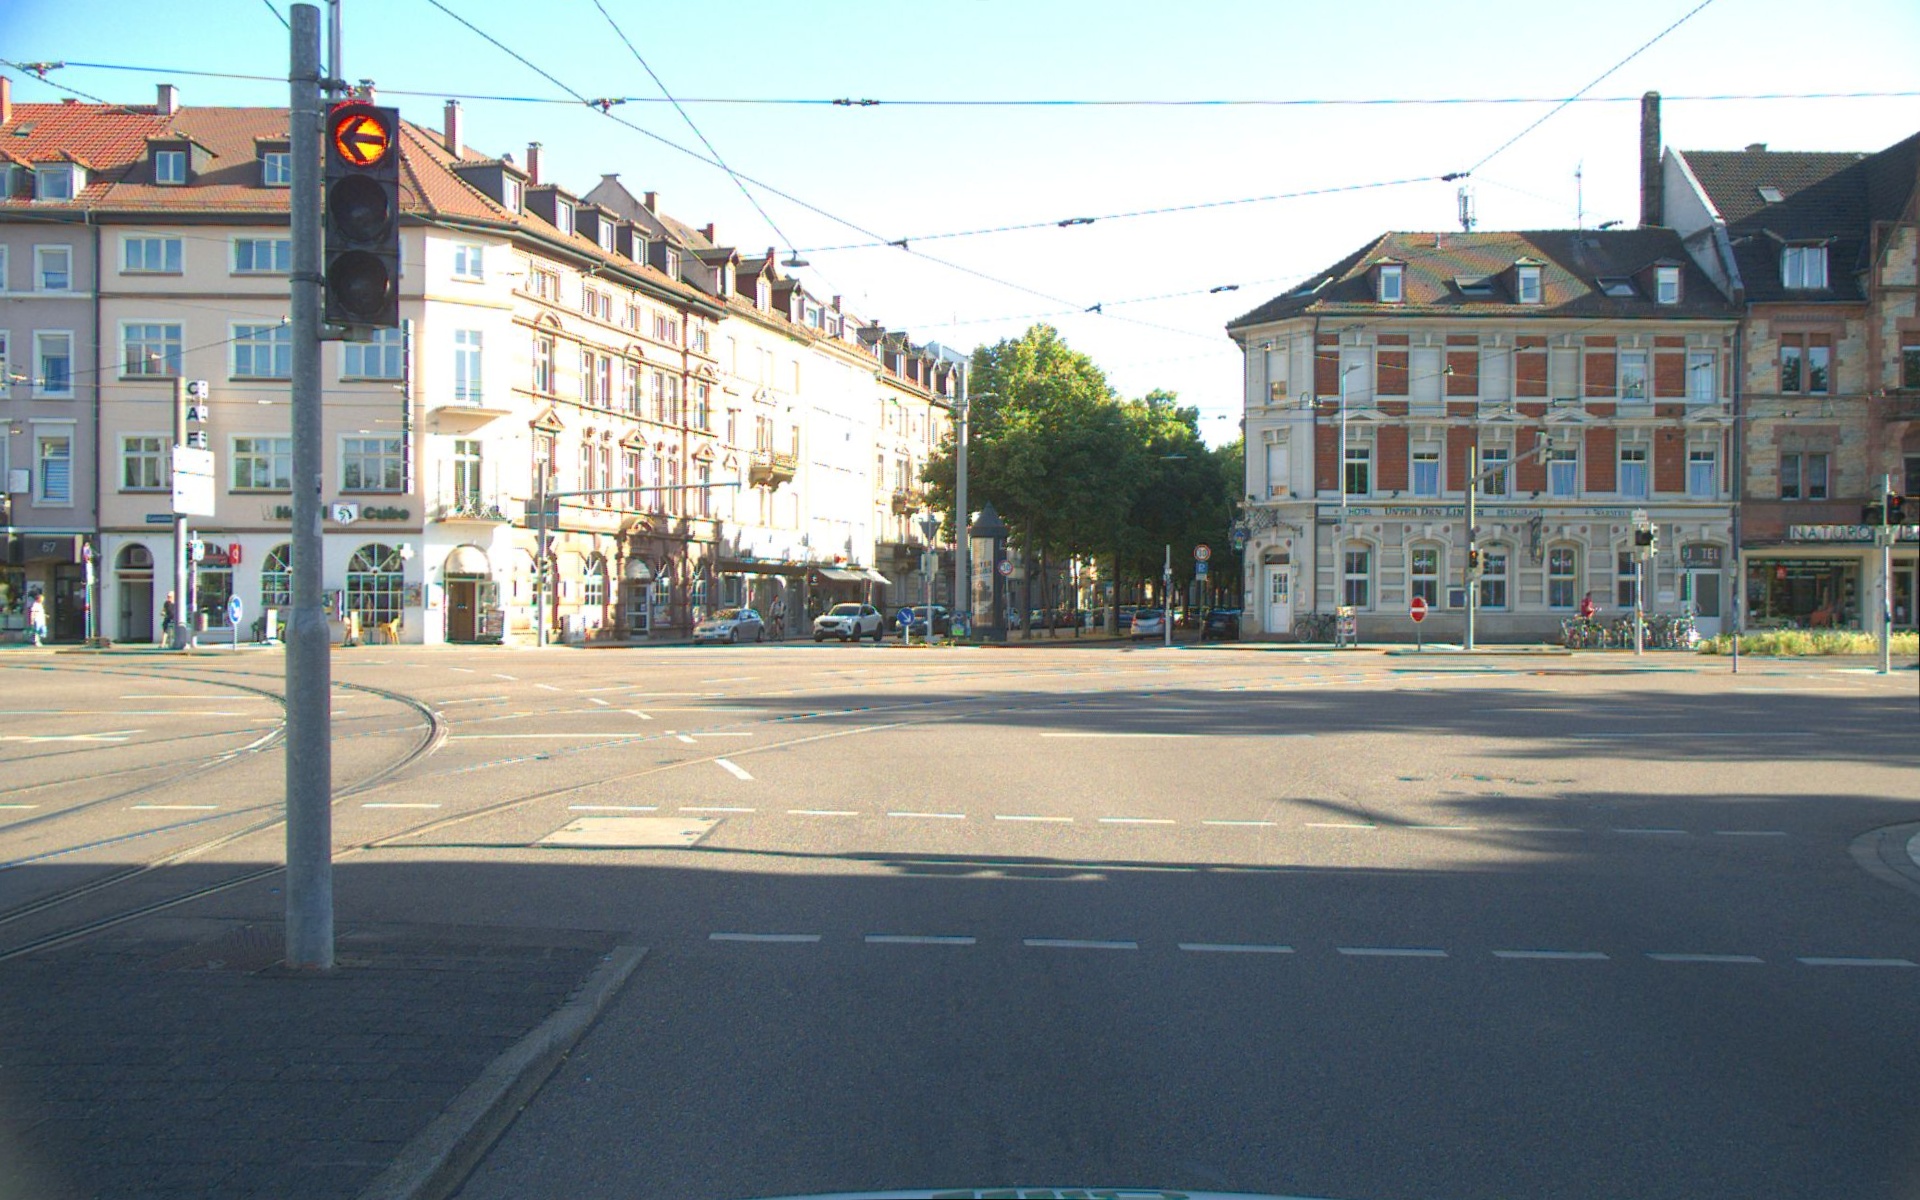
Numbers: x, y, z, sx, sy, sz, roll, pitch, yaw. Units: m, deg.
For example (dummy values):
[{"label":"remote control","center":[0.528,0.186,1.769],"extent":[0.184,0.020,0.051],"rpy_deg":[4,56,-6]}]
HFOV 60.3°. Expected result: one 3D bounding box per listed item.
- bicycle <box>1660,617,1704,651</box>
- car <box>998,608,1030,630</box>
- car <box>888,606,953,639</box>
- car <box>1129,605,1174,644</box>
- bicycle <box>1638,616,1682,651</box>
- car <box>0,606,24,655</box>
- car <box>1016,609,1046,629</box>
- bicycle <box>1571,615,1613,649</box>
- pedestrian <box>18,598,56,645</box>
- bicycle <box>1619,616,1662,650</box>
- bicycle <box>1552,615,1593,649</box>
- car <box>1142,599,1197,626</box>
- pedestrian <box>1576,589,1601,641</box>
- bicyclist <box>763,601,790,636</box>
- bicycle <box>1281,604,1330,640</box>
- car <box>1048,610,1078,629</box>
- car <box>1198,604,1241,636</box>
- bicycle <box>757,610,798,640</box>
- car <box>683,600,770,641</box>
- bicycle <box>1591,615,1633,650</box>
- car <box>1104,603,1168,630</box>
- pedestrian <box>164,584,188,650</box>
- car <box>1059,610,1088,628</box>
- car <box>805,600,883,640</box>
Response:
[{"label":"bicycle","center":[23.326,1.081,53.442],"extent":[0.593,1.069,1.641],"rpy_deg":[0,0,-6]},{"label":"car","center":[3.794,1.349,115.857],"extent":[1.704,1.422,4.127],"rpy_deg":[3,0,9]},{"label":"car","center":[-1.832,1.035,78.761],"extent":[2.052,1.473,4.367],"rpy_deg":[0,0,13]},{"label":"car","center":[9.181,1.147,79.144],"extent":[1.638,1.787,3.761],"rpy_deg":[0,0,15]},{"label":"bicycle","center":[22.600,1.068,53.421],"extent":[0.593,1.069,1.641],"rpy_deg":[0,0,-6]},{"label":"car","center":[-32.067,0.993,52.169],"extent":[3.910,1.489,1.998],"rpy_deg":[-1,1,-6]},{"label":"car","center":[5.324,1.404,122.857],"extent":[1.704,1.422,4.127],"rpy_deg":[3,0,9]},{"label":"bicycle","center":[20.461,1.032,53.587],"extent":[0.593,1.069,1.641],"rpy_deg":[0,0,-6]},{"label":"pedestrian","center":[-30.944,0.724,55.471],"extent":[0.774,1.553,0.859],"rpy_deg":[0,0,0]},{"label":"bicycle","center":[21.939,1.057,53.345],"extent":[0.593,1.069,1.641],"rpy_deg":[0,0,-6]},{"label":"bicycle","center":[19.821,1.021,53.531],"extent":[0.593,1.069,1.641],"rpy_deg":[0,0,-6]},{"label":"car","center":[16.947,1.004,133.683],"extent":[4.026,1.952,1.746],"rpy_deg":[3,0,21]},{"label":"pedestrian","center":[21.528,0.520,56.634],"extent":[0.694,1.782,0.421],"rpy_deg":[0,0,0]},{"label":"bicyclist","center":[-7.438,0.754,67.177],"extent":[0.776,1.399,1.109],"rpy_deg":[0,0,14]},{"label":"bicycle","center":[11.971,0.759,57.320],"extent":[1.603,1.243,0.607],"rpy_deg":[0,0,16]},{"label":"car","center":[8.233,1.528,131.724],"extent":[1.704,1.422,4.127],"rpy_deg":[3,0,13]},{"label":"car","center":[12.967,0.997,82.484],"extent":[1.616,1.551,3.755],"rpy_deg":[0,-1,17]},{"label":"bicycle","center":[-7.404,1.005,67.235],"extent":[0.734,1.155,2.812],"rpy_deg":[0,0,14]},{"label":"car","center":[-9.456,0.806,67.237],"extent":[2.052,1.572,4.367],"rpy_deg":[0,0,13]},{"label":"bicycle","center":[21.113,1.043,53.612],"extent":[0.593,1.069,1.641],"rpy_deg":[0,0,-6]},{"label":"car","center":[12.292,1.148,115.460],"extent":[4.026,1.675,1.746],"rpy_deg":[3,0,21]},{"label":"pedestrian","center":[-24.671,0.534,52.049],"extent":[0.498,2.049,0.505],"rpy_deg":[0,0,2]},{"label":"car","center":[9.410,1.564,136.520],"extent":[1.704,1.422,4.127],"rpy_deg":[3,0,13]},{"label":"car","center":[-4.657,0.784,67.096],"extent":[2.052,1.525,4.003],"rpy_deg":[0,0,13]}]
